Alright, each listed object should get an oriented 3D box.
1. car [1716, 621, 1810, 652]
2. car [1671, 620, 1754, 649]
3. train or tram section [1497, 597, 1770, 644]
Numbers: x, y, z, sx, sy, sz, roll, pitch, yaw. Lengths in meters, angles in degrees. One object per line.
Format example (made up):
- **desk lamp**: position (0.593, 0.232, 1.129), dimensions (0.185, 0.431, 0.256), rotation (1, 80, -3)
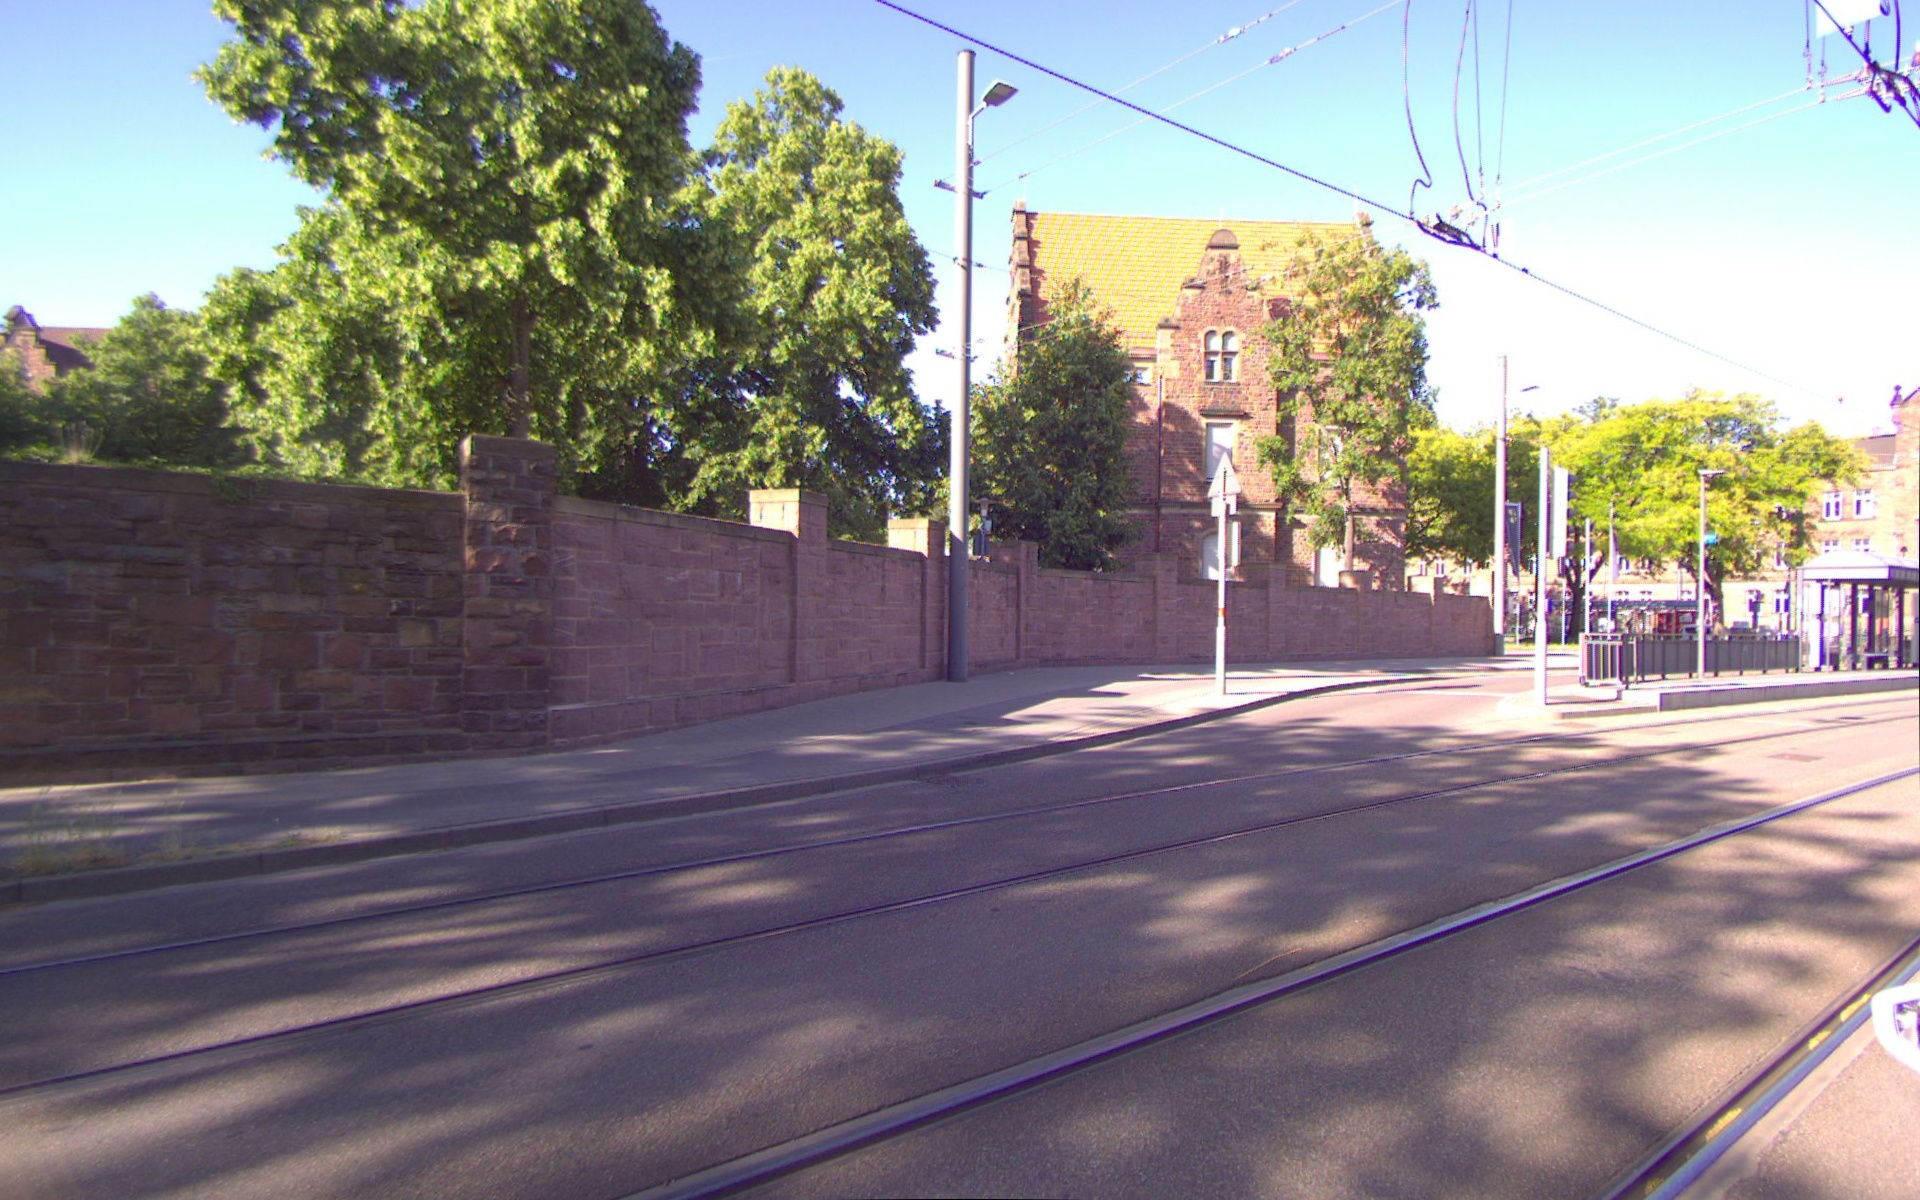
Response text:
- **car**: position (47.752, 2.157, 59.795), dimensions (1.798, 1.651, 3.964), rotation (2, 0, -32)
- **car**: position (49.177, 2.239, 65.678), dimensions (1.798, 1.651, 3.964), rotation (2, 0, -32)
- **train or tram section**: position (50.028, 1.454, 75.883), dimensions (3.312, 3.196, 17.280), rotation (2, -1, -33)
